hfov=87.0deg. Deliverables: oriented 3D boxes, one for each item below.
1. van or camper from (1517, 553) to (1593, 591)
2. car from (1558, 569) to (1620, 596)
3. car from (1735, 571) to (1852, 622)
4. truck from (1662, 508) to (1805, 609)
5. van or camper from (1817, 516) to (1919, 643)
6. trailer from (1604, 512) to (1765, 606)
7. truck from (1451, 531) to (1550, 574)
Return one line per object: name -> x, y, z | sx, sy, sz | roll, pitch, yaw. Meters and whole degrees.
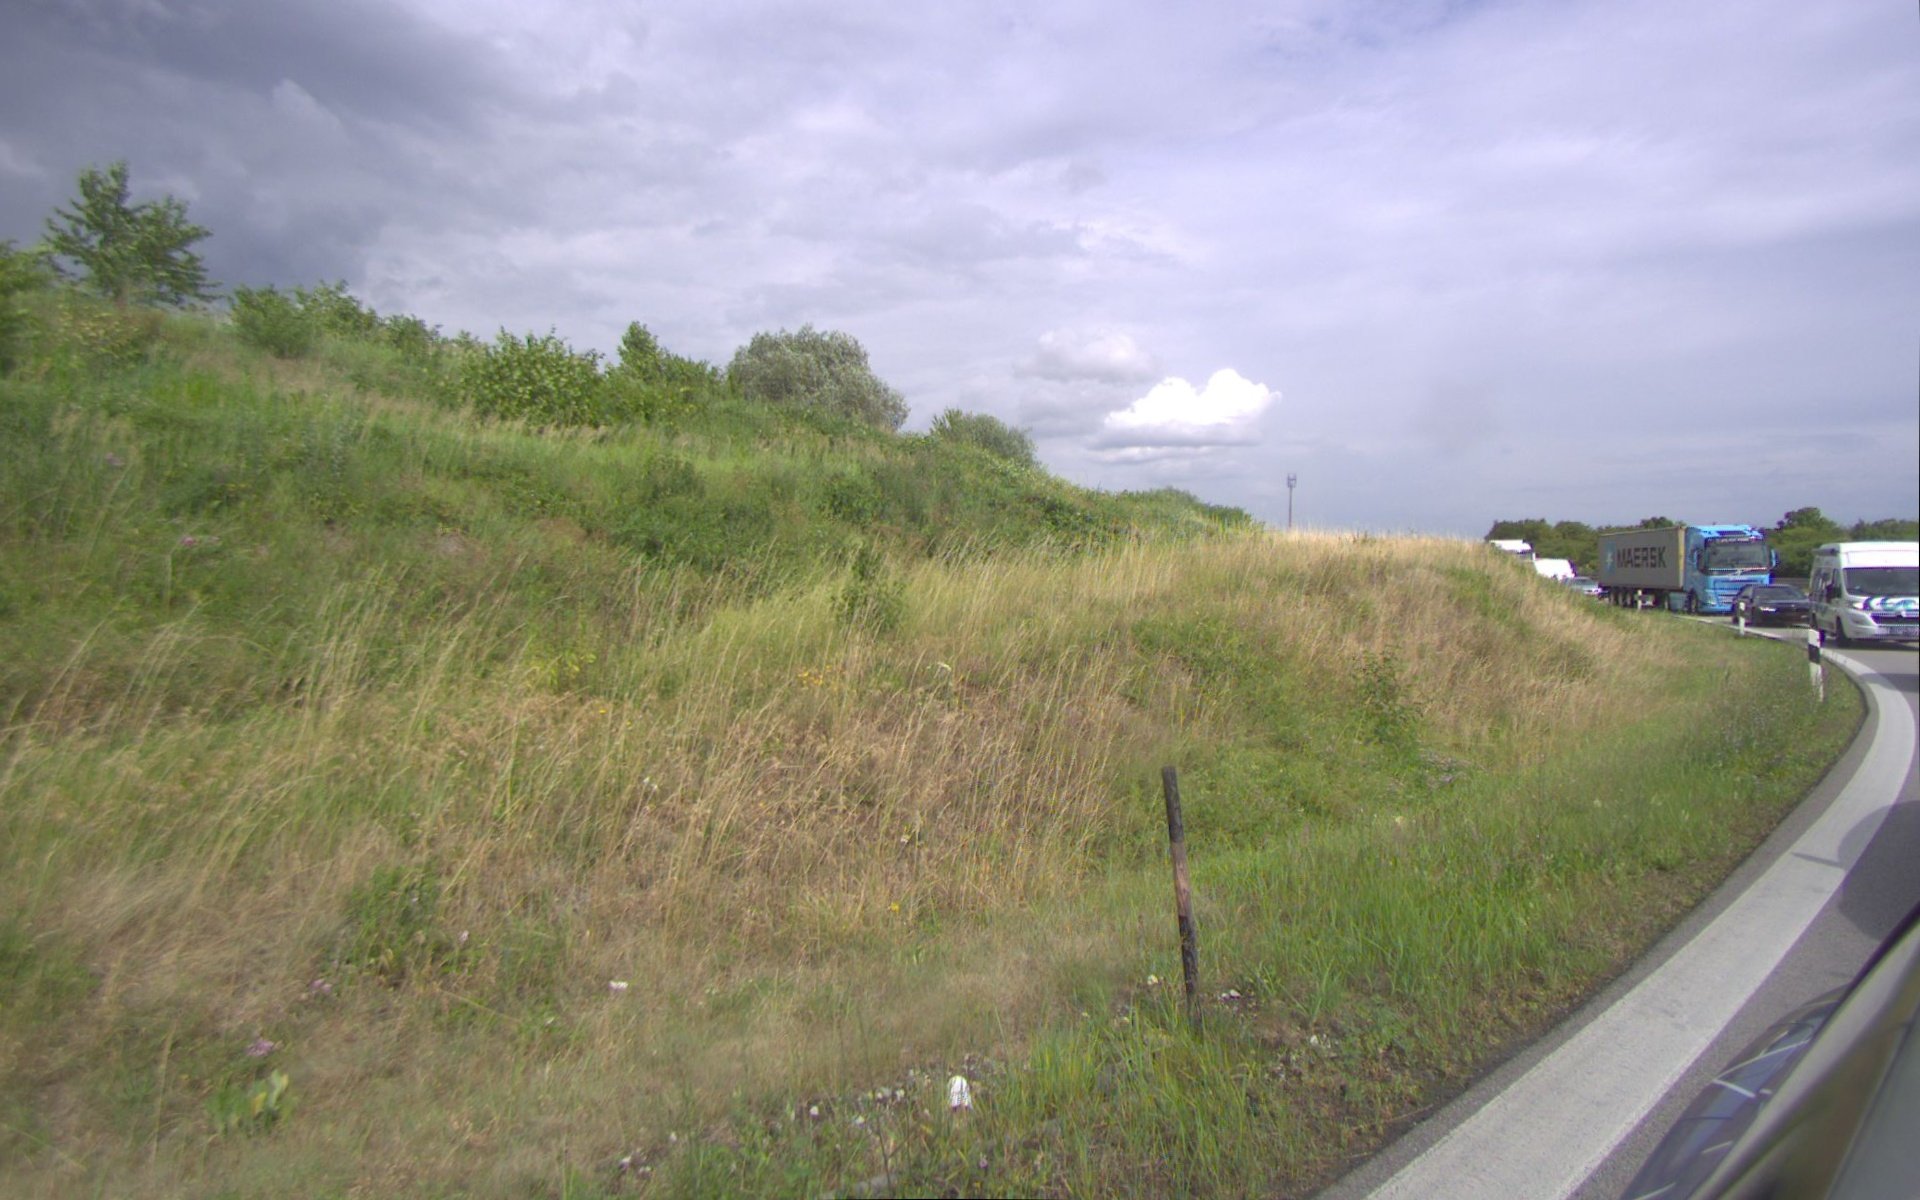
van or camper -> 40.605, -1.994, 69.230 | 2.512, 2.237, 5.701 | -1, 4, 9
car -> 39.257, -1.105, 63.302 | 1.968, 1.548, 3.989 | 0, 3, 11
car -> 29.182, -0.172, 35.597 | 1.976, 1.638, 3.973 | 1, 2, 21
truck -> 34.475, -1.765, 45.460 | 3.139, 4.124, 6.606 | -1, 1, 19
van or camper -> 23.961, -0.533, 25.980 | 2.383, 2.945, 5.650 | 0, 1, 35
trailer -> 36.608, -1.961, 51.851 | 3.233, 4.213, 11.946 | -1, 1, 18
truck -> 43.427, -3.744, 81.828 | 3.071, 3.279, 11.144 | 0, 2, 6
